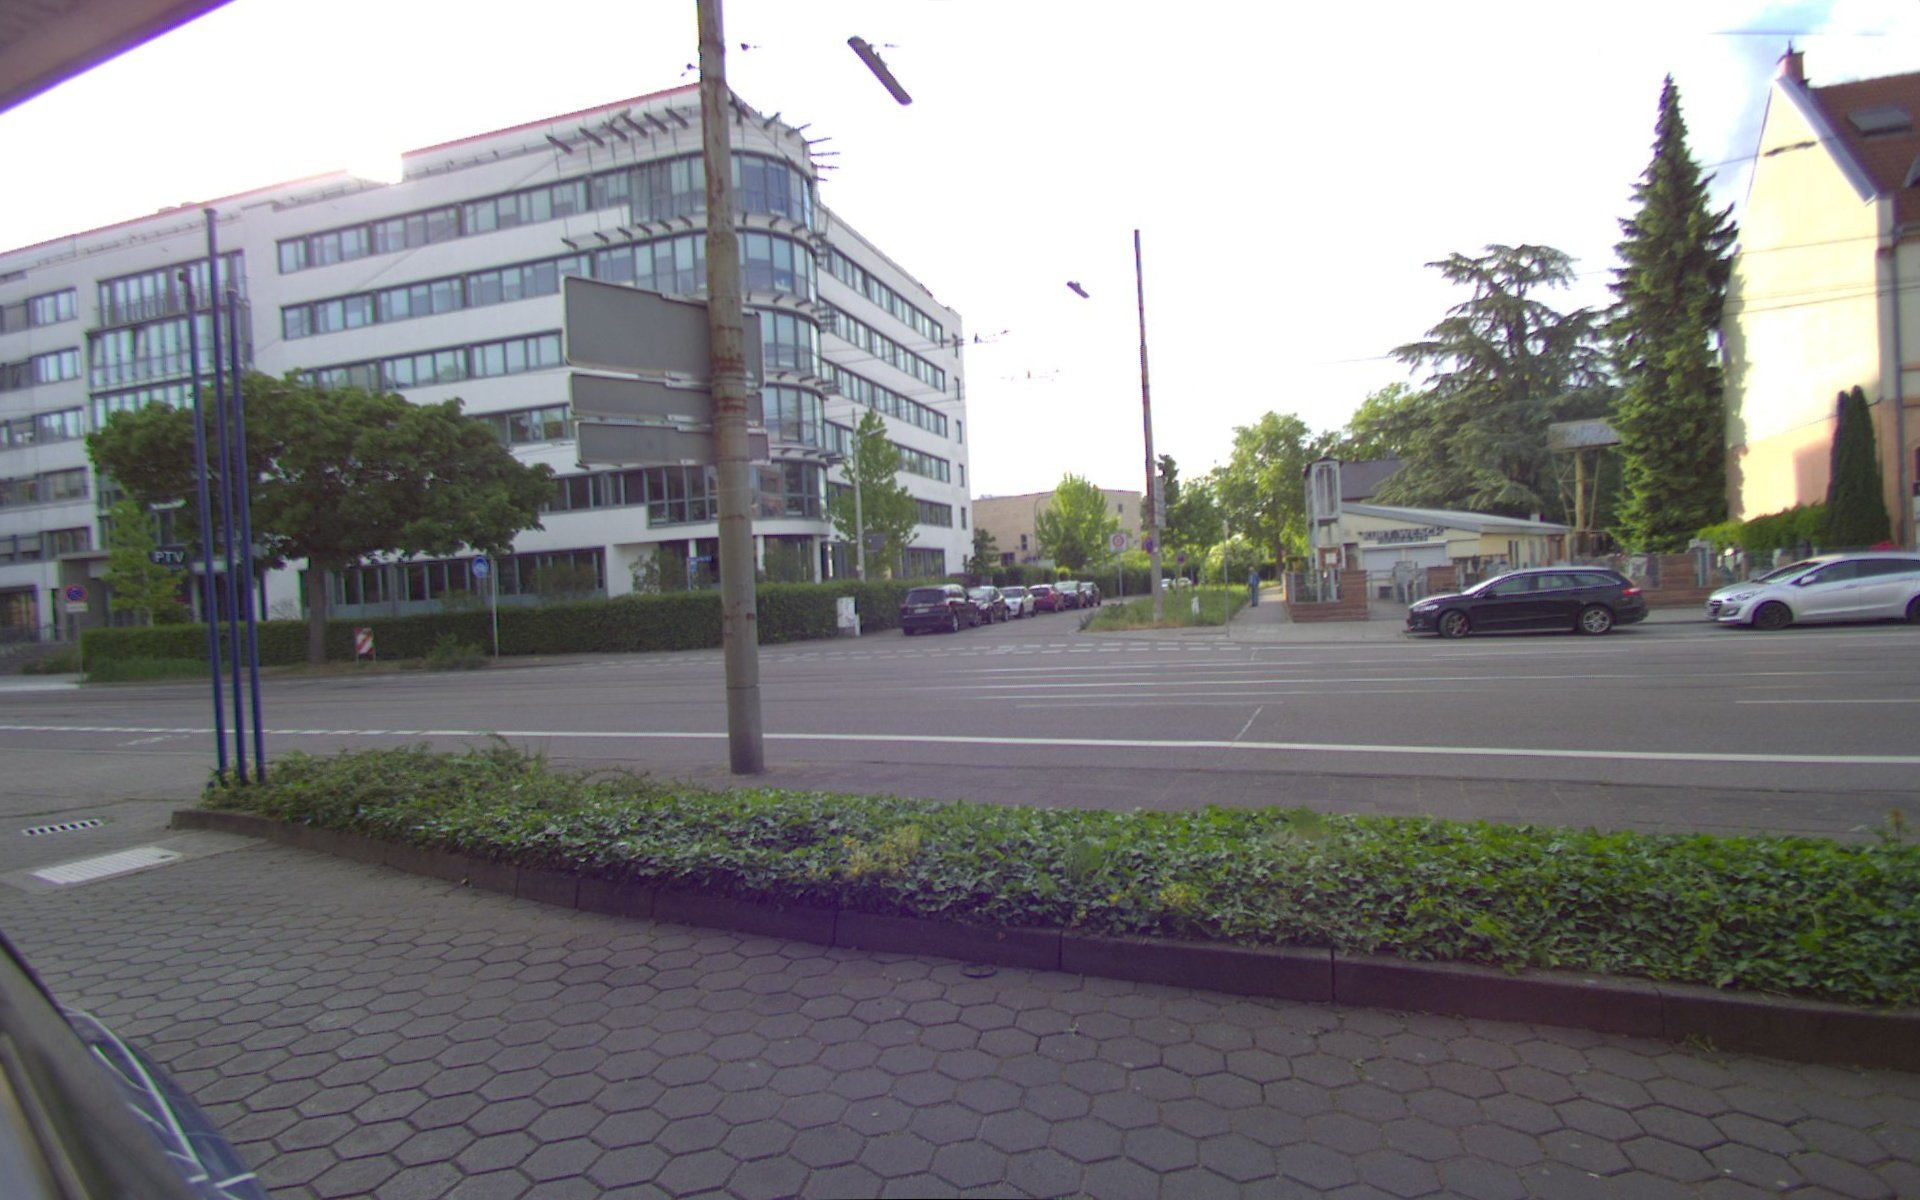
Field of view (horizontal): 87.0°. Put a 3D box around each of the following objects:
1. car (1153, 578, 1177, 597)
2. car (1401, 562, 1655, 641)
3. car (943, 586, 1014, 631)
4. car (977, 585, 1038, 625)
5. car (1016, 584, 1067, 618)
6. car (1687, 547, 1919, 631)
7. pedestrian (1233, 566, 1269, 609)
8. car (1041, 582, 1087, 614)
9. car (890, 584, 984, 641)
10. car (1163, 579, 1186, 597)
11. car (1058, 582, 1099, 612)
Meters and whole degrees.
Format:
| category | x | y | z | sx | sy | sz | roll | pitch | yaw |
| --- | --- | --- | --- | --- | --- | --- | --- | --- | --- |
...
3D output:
| category | x | y | z | sx | sy | sz | roll | pitch | yaw |
| --- | --- | --- | --- | --- | --- | --- | --- | --- | --- |
| car | 20.418 | -1.251 | 100.617 | 1.774 | 1.653 | 4.060 | -4 | 0 | 19 |
| car | 12.908 | 0.048 | 23.419 | 4.791 | 1.507 | 1.986 | -4 | 0 | 22 |
| car | 0.790 | 0.297 | 40.897 | 1.773 | 1.565 | 4.083 | -4 | 0 | 17 |
| car | 2.198 | 0.185 | 45.759 | 1.773 | 1.565 | 4.083 | -4 | 0 | 17 |
| car | 4.279 | 0.033 | 52.363 | 1.773 | 1.552 | 4.018 | -4 | 0 | 17 |
| car | 18.484 | -0.253 | 21.502 | 4.459 | 1.486 | 1.986 | -4 | 0 | 22 |
| pedestrian | 12.702 | -0.521 | 44.159 | 0.988 | 1.843 | 1.096 | -1 | 0 | -28 |
| car | 5.973 | -0.125 | 57.664 | 1.773 | 1.653 | 4.064 | -4 | 0 | 17 |
| car | -0.730 | 0.388 | 35.540 | 1.962 | 1.625 | 4.411 | -4 | 2 | 17 |
| car | 22.556 | -1.278 | 106.315 | 1.774 | 1.653 | 4.060 | -4 | 0 | 19 |
| car | 7.364 | -0.221 | 62.675 | 1.773 | 1.653 | 4.064 | -4 | 0 | 17 |
